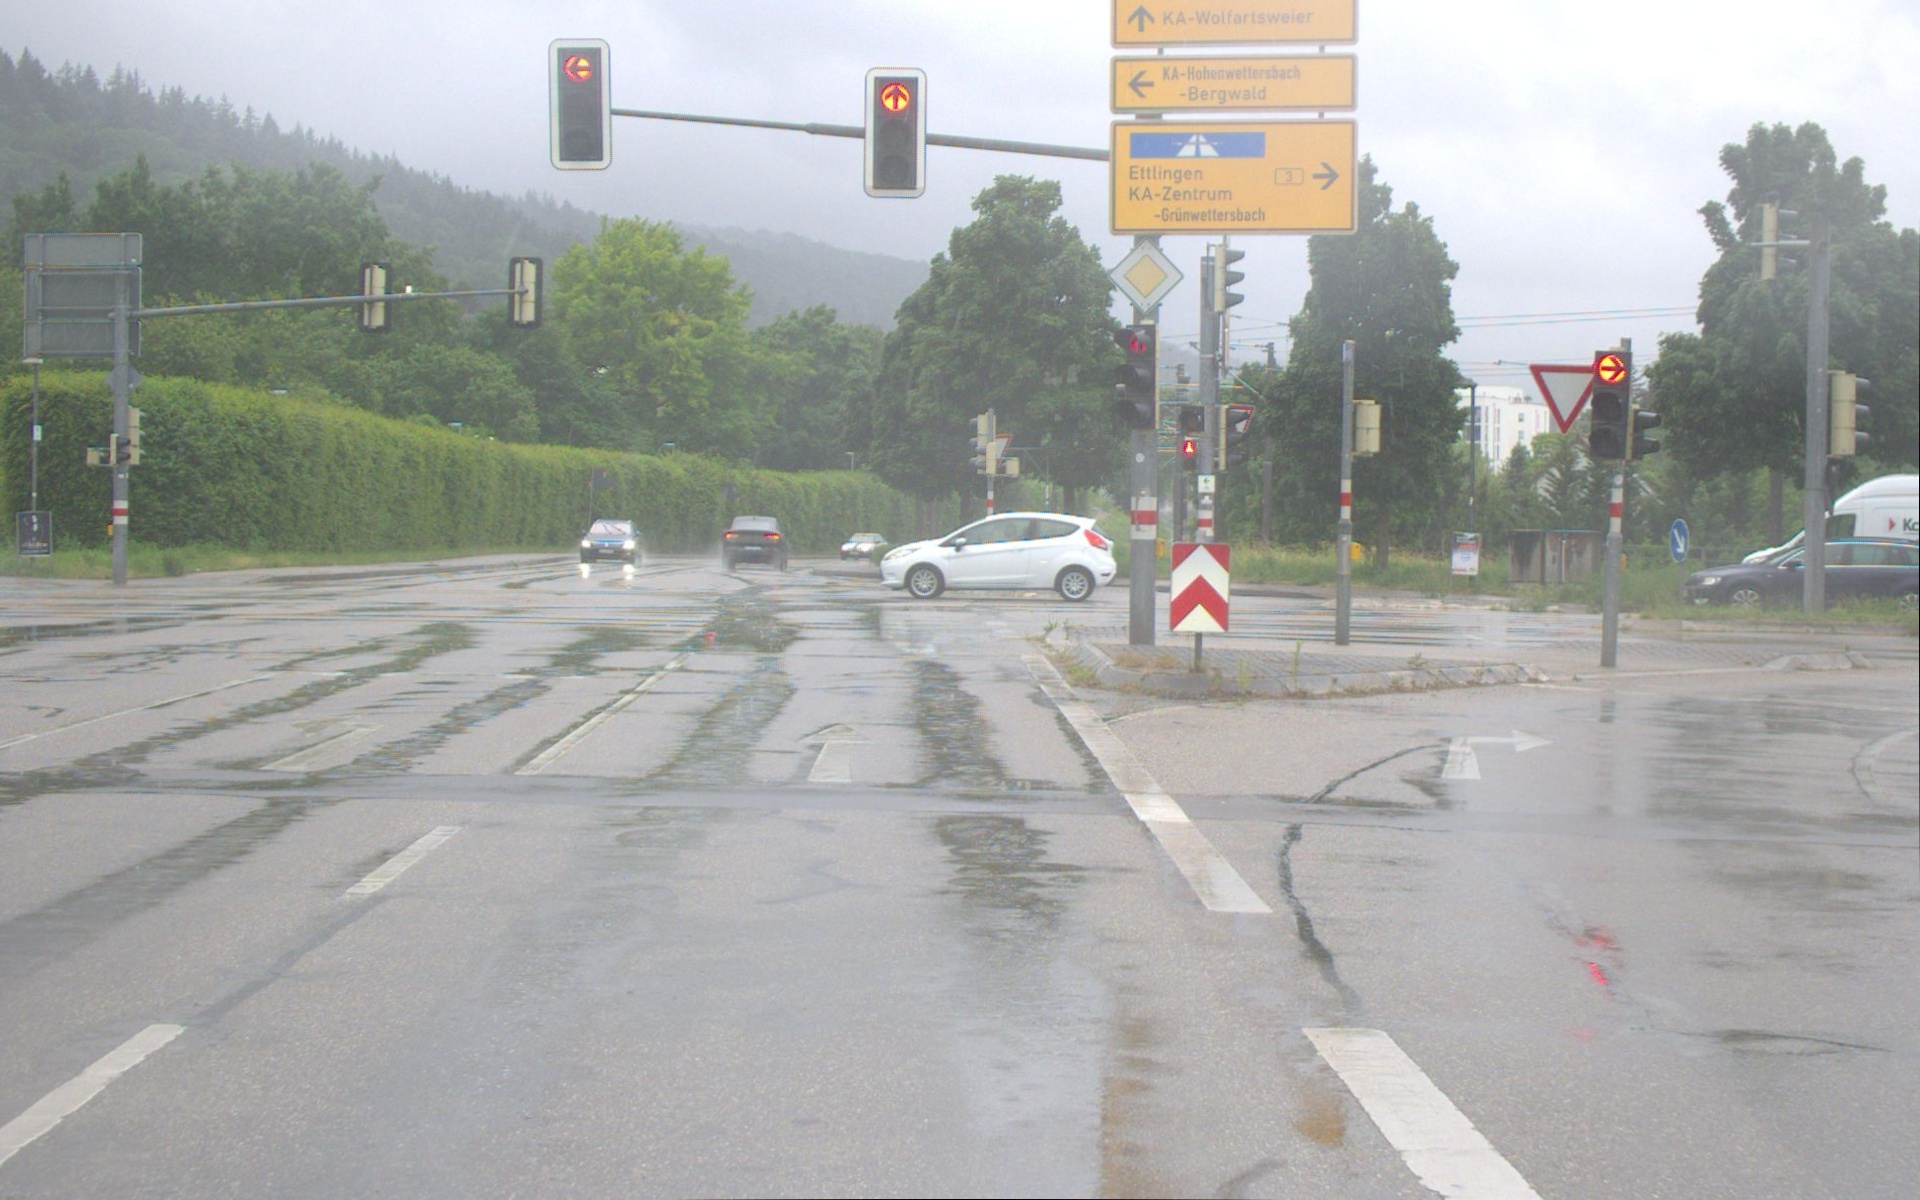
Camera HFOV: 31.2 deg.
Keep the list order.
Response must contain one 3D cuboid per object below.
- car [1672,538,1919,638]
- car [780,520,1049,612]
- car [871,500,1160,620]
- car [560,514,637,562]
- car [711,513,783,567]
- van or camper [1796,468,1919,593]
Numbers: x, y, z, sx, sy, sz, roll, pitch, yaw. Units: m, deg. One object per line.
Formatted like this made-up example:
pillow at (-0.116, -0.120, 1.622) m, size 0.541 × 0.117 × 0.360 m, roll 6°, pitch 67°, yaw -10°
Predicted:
car at (14.198, -0.206, 56.537) m, size 4.670 × 1.548 × 1.822 m, roll 1°, pitch 2°, yaw 6°
car at (-0.776, -0.615, 61.001) m, size 4.670 × 1.548 × 1.822 m, roll 1°, pitch 2°, yaw 3°
car at (0.955, -0.691, 57.311) m, size 4.670 × 1.909 × 1.915 m, roll 1°, pitch 2°, yaw 5°
car at (-12.237, -2.110, 116.642) m, size 1.879 × 1.568 × 4.644 m, roll -1°, pitch 1°, yaw 3°
car at (-6.442, -1.834, 104.390) m, size 1.879 × 1.568 × 4.645 m, roll -1°, pitch 1°, yaw 0°
van or camper at (17.549, -1.224, 61.468) m, size 4.853 × 2.161 × 2.159 m, roll 2°, pitch 2°, yaw 18°
